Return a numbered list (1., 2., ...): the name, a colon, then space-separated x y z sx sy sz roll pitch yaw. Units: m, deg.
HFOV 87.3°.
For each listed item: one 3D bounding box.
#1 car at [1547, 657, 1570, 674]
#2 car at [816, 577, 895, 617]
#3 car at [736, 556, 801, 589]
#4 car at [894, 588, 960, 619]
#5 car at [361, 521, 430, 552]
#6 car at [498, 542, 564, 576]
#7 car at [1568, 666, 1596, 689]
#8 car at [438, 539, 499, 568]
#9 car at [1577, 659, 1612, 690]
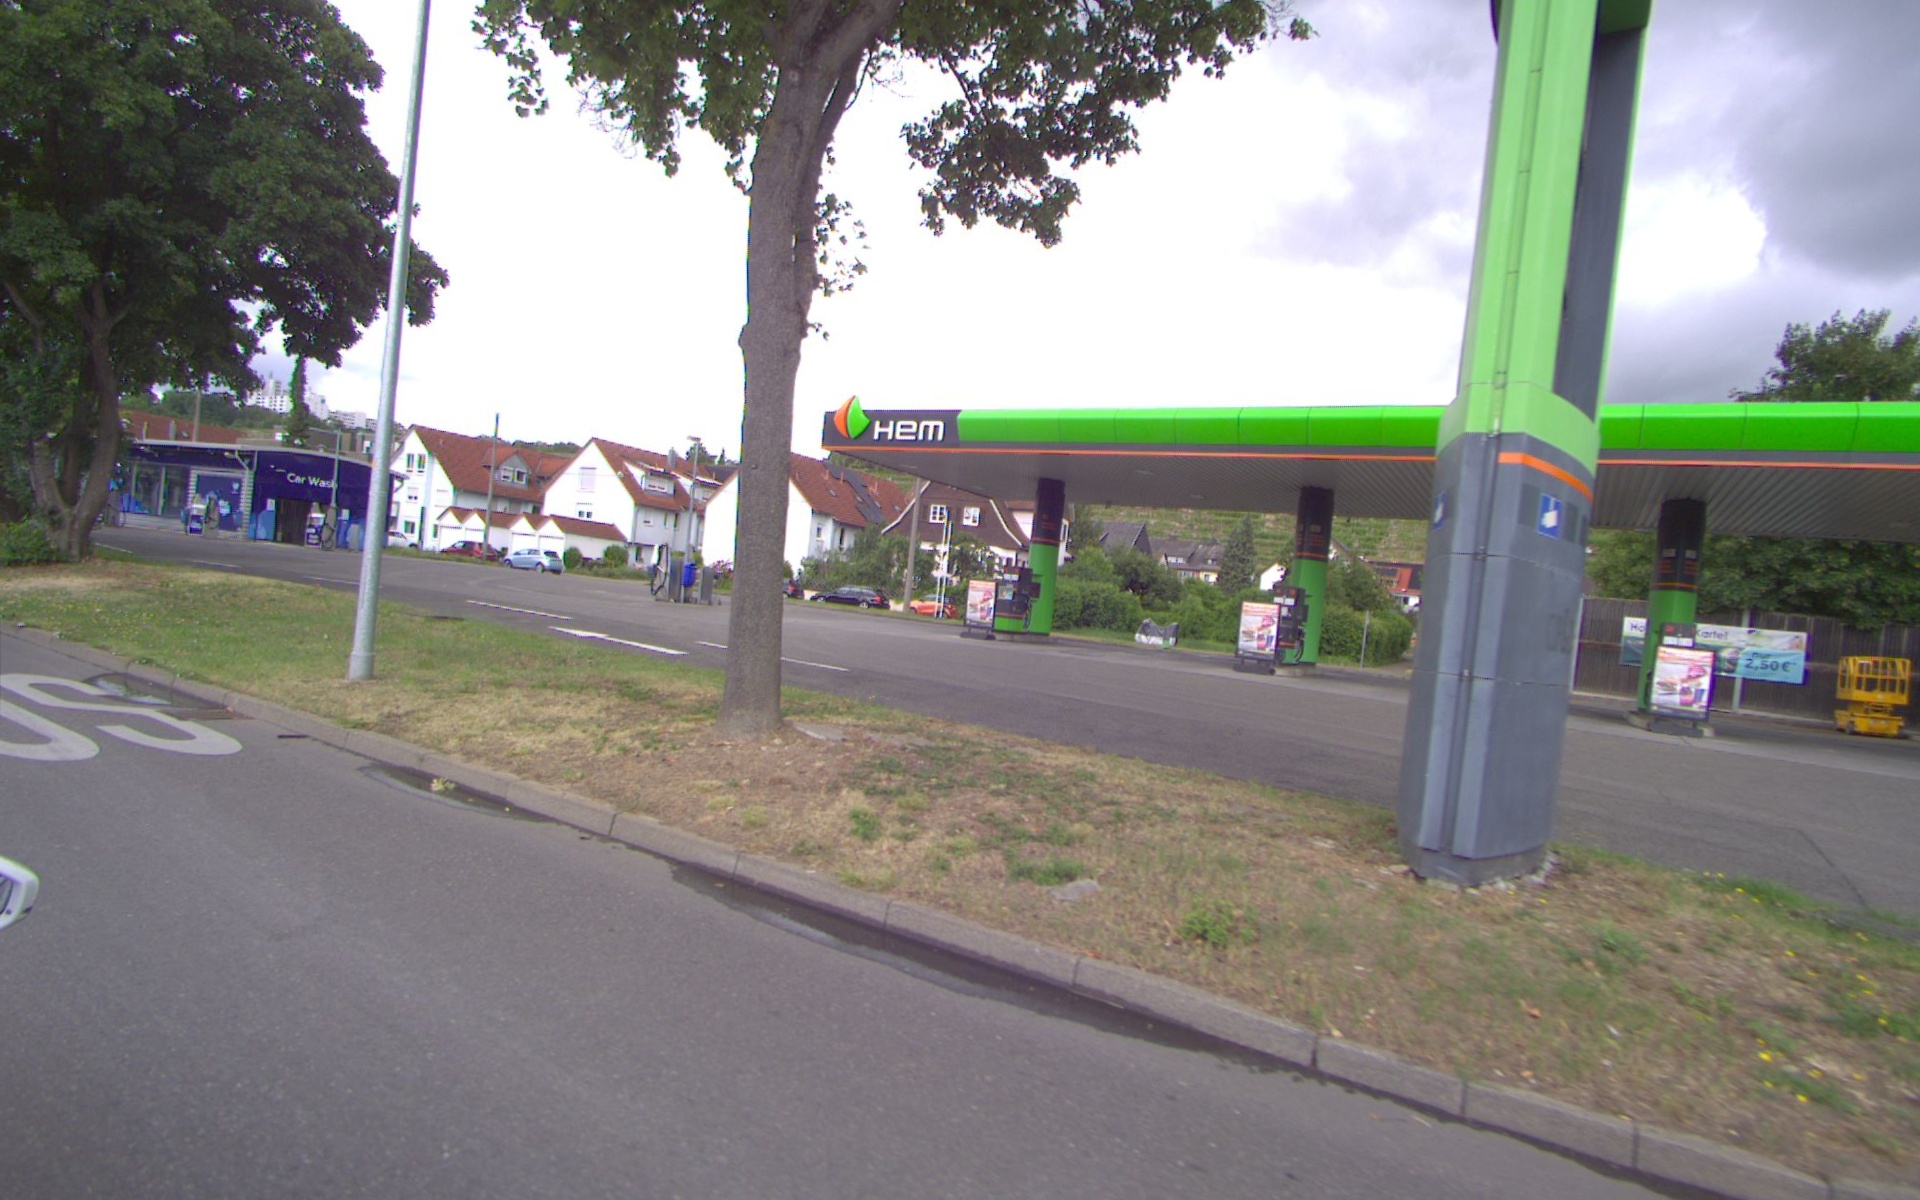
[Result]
1. car: 64.392 7.059 108.195 1.807 1.661 3.987 7 1 34
2. car: -5.907 -0.156 56.847 3.925 1.709 1.762 7 -1 20
3. car: -12.484 -1.795 65.669 3.934 1.705 1.691 7 1 32
4. car: -1.815 0.214 55.503 3.273 1.279 1.421 7 -1 20
5. car: -43.603 -4.880 77.779 1.747 1.704 4.225 6 -2 29
6. car: -27.423 -2.617 64.303 3.667 1.618 1.539 7 -1 20
7. car: 48.691 6.088 78.792 1.709 1.433 3.994 6 -2 32
8. car: -32.279 -3.059 66.074 3.354 1.411 1.587 7 -1 20
9. car: 41.767 4.924 66.254 1.709 1.753 3.994 6 -2 32
